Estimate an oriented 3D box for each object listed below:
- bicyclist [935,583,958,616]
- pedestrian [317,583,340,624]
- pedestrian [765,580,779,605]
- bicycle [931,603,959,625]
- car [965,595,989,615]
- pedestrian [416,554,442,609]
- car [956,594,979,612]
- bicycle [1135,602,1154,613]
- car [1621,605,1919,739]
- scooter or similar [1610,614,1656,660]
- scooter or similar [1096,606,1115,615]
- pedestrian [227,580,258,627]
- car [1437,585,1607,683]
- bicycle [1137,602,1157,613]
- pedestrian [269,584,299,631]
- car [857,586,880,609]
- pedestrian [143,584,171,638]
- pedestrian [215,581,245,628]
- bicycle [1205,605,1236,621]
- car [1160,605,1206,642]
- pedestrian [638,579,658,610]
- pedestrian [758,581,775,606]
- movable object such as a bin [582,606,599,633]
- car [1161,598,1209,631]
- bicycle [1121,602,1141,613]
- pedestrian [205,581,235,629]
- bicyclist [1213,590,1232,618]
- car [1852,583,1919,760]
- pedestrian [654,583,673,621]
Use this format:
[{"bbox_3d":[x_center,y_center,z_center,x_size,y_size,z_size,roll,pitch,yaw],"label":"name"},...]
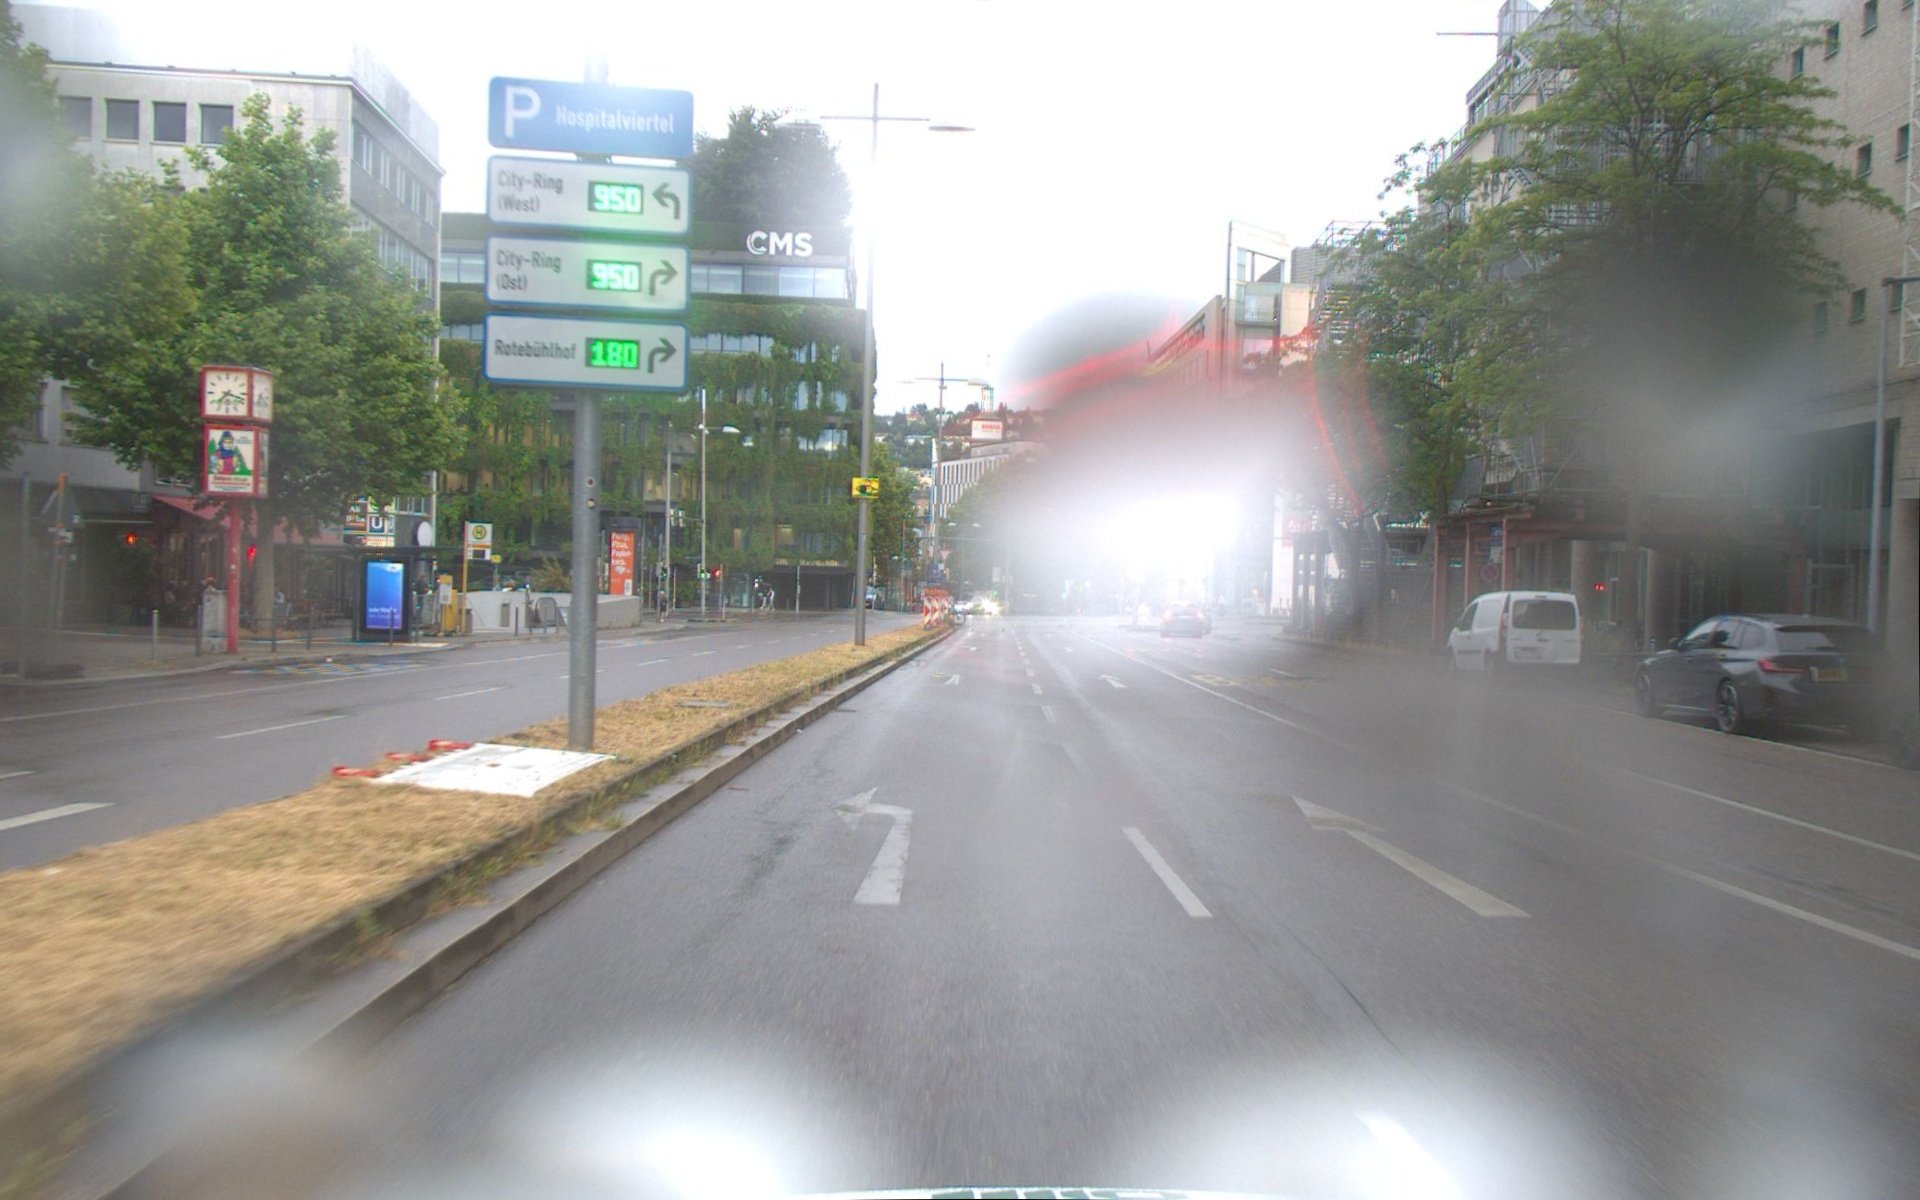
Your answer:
[{"bbox_3d":[-0.727,-0.004,87.885,0.828,1.734,1.299,1,0,18],"label":"bicyclist"},{"bbox_3d":[-22.708,0.117,59.505,0.590,1.476,0.588,1,0,-4],"label":"pedestrian"},{"bbox_3d":[-13.663,-0.542,120.122,0.731,1.788,0.970,1,0,-22],"label":"pedestrian"},{"bbox_3d":[-0.783,0.731,87.895,0.828,1.122,2.153,1,0,19],"label":"bicycle"},{"bbox_3d":[1.412,0.416,136.393,1.952,1.577,4.556,1,0,0],"label":"car"},{"bbox_3d":[-18.988,-0.665,59.148,0.675,1.918,0.758,1,0,-3],"label":"pedestrian"},{"bbox_3d":[0.774,0.313,173.350,2.132,1.855,4.640,1,0,-4],"label":"car"},{"bbox_3d":[15.990,0.664,143.332,1.769,0.950,0.472,1,0,43],"label":"bicycle"},{"bbox_3d":[10.278,0.827,21.283,1.830,1.462,4.923,1,0,4],"label":"car"},{"bbox_3d":[17.861,0.968,43.918,0.618,1.182,1.548,1,0,2],"label":"scooter or similar"},{"bbox_3d":[13.862,0.983,157.412,1.718,0.894,0.487,1,0,-18],"label":"scooter or similar"},{"bbox_3d":[-23.172,0.111,53.423,0.712,1.476,0.691,1,0,-5],"label":"pedestrian"},{"bbox_3d":[11.111,0.625,33.021,1.952,1.780,4.527,1,0,2],"label":"car"},{"bbox_3d":[16.122,0.662,142.362,1.769,0.950,0.472,1,0,43],"label":"bicycle"},{"bbox_3d":[-21.456,0.235,52.502,0.675,1.476,0.707,1,0,-3],"label":"pedestrian"},{"bbox_3d":[-8.132,-0.238,146.545,1.953,1.928,4.463,1,0,-2],"label":"car"},{"bbox_3d":[-24.189,0.324,49.807,0.584,1.598,0.604,0,0,-8],"label":"pedestrian"},{"bbox_3d":[-23.115,0.138,52.376,0.675,1.476,0.583,1,0,-2],"label":"pedestrian"},{"bbox_3d":[18.684,0.928,118.748,0.786,1.136,2.224,1,0,-38],"label":"bicycle"},{"bbox_3d":[10.016,1.030,74.536,1.741,1.567,4.149,1,0,4],"label":"car"},{"bbox_3d":[-16.973,-0.293,90.042,0.901,1.613,0.833,-3,0,-3],"label":"pedestrian"},{"bbox_3d":[-14.022,-0.459,120.020,0.922,1.788,1.164,1,0,-22],"label":"pedestrian"},{"bbox_3d":[-12.903,0.684,57.754,0.521,0.913,0.681,-1,0,-8],"label":"movable object such as a bin"},{"bbox_3d":[11.160,0.704,81.820,1.667,1.556,4.429,1,0,17],"label":"car"},{"bbox_3d":[15.527,0.709,150.272,1.757,0.950,0.476,1,0,4],"label":"bicycle"},{"bbox_3d":[-23.156,0.148,51.734,0.675,1.476,0.547,1,0,-3],"label":"pedestrian"},{"bbox_3d":[18.793,0.282,118.594,0.786,2.009,1.099,1,0,-38],"label":"bicyclist"},{"bbox_3d":[9.985,0.693,14.491,1.952,1.675,4.864,1,0,4],"label":"car"},{"bbox_3d":[-15.280,0.116,85.168,0.789,1.918,0.865,-3,0,-5],"label":"pedestrian"}]
